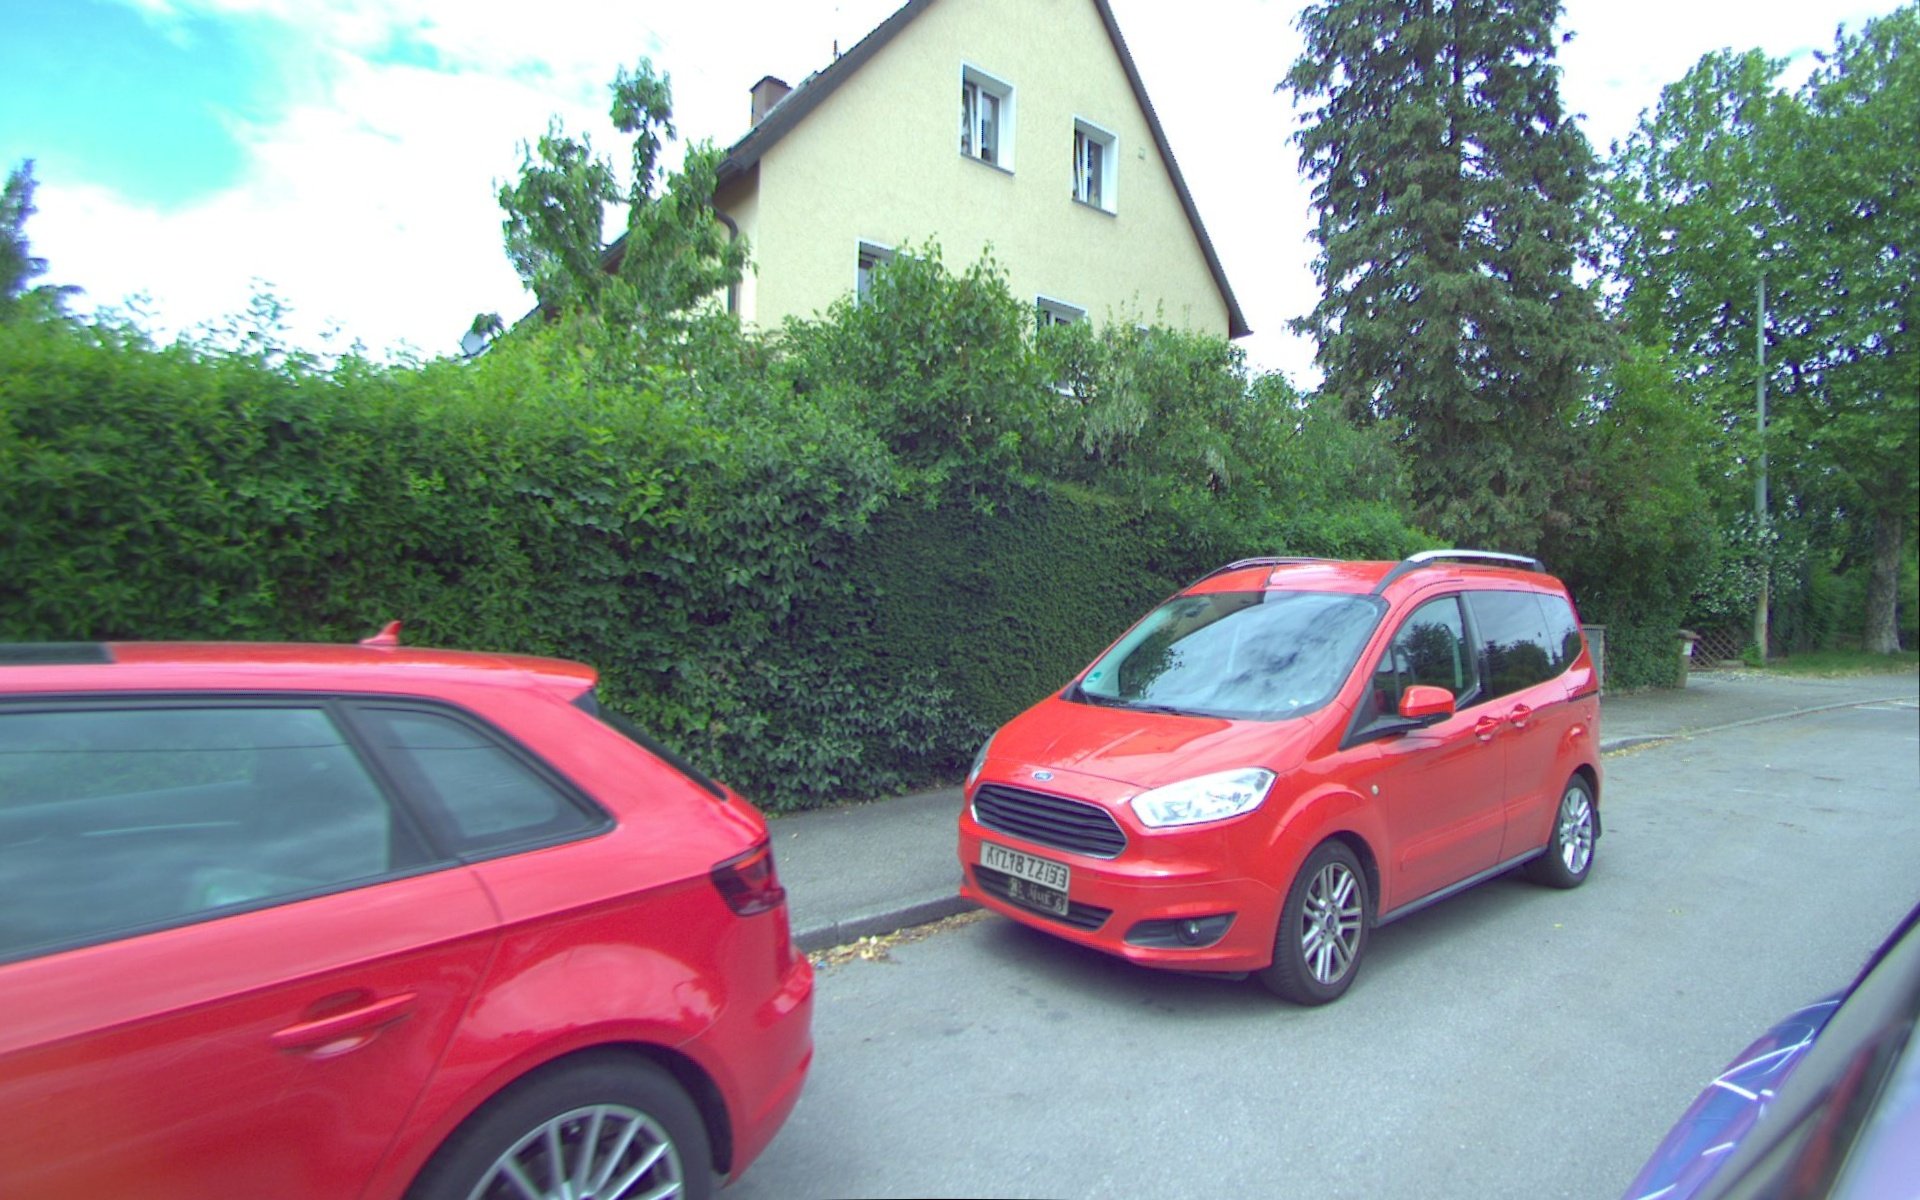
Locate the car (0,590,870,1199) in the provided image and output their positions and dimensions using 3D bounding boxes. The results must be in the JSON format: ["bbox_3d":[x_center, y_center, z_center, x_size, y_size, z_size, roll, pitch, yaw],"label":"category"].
[{"bbox_3d":[-2.294,0.732,1.502,4.198,1.486,1.713,1,-1,-45],"label":"car"}]

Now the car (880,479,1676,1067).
[{"bbox_3d":[2.052,0.561,5.412,4.861,1.820,1.763,1,-1,-41],"label":"car"}]

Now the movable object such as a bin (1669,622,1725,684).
[{"bbox_3d":[13.402,0.954,18.398,0.557,1.083,0.606,0,-2,-27],"label":"movable object such as a bin"}]
